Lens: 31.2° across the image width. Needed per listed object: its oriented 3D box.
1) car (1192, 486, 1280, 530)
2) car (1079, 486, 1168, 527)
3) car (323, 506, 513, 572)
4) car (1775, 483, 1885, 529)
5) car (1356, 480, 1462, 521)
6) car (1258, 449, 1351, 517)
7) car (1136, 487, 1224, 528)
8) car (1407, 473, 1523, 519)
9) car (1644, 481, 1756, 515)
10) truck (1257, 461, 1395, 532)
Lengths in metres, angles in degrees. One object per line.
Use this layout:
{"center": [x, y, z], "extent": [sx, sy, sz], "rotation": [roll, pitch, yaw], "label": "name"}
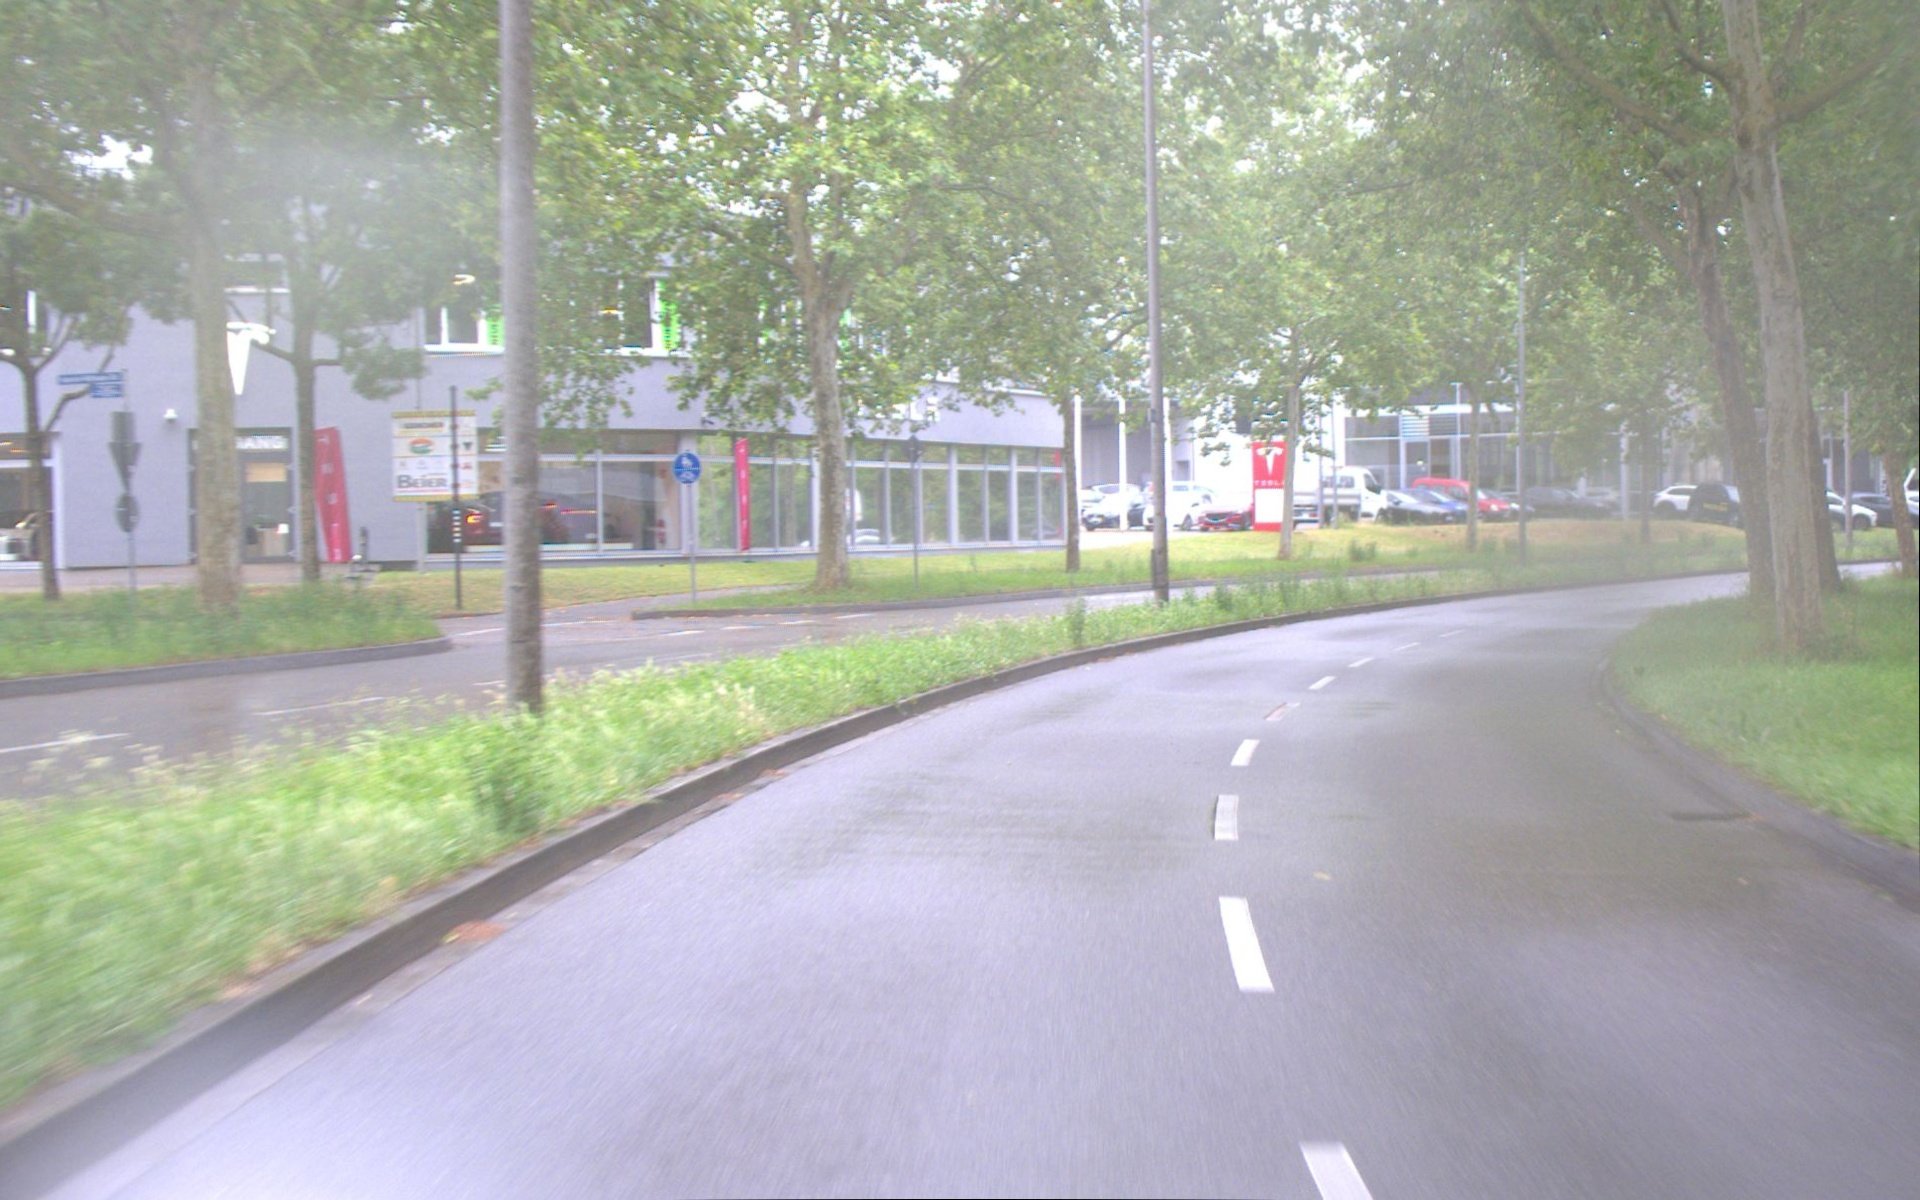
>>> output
{"center": [10.292, -3.431, 127.969], "extent": [1.765, 1.462, 4.151], "rotation": [2, 4, 28], "label": "car"}
{"center": [6.265, -3.571, 131.197], "extent": [1.765, 1.392, 4.151], "rotation": [2, 4, 28], "label": "car"}
{"center": [-12.485, -1.419, 79.154], "extent": [4.197, 1.489, 1.596], "rotation": [1, 1, 28], "label": "car"}
{"center": [37.902, -4.115, 149.869], "extent": [4.116, 1.473, 1.849], "rotation": [5, 7, -5], "label": "car"}
{"center": [16.967, -3.777, 129.897], "extent": [3.530, 1.322, 1.765], "rotation": [5, 5, 34], "label": "car"}
{"center": [14.499, -4.972, 145.096], "extent": [2.163, 2.742, 5.341], "rotation": [0, 3, -14], "label": "car"}
{"center": [8.335, -3.515, 130.061], "extent": [1.765, 1.392, 4.151], "rotation": [2, 4, 28], "label": "car"}
{"center": [19.689, -4.082, 134.095], "extent": [4.004, 1.551, 1.844], "rotation": [5, 5, 34], "label": "car"}
{"center": [32.376, -4.463, 150.466], "extent": [4.430, 1.468, 1.916], "rotation": [1, 3, 32], "label": "car"}
{"center": [13.528, -3.852, 126.661], "extent": [2.251, 2.336, 6.182], "rotation": [5, 5, 35], "label": "truck"}
